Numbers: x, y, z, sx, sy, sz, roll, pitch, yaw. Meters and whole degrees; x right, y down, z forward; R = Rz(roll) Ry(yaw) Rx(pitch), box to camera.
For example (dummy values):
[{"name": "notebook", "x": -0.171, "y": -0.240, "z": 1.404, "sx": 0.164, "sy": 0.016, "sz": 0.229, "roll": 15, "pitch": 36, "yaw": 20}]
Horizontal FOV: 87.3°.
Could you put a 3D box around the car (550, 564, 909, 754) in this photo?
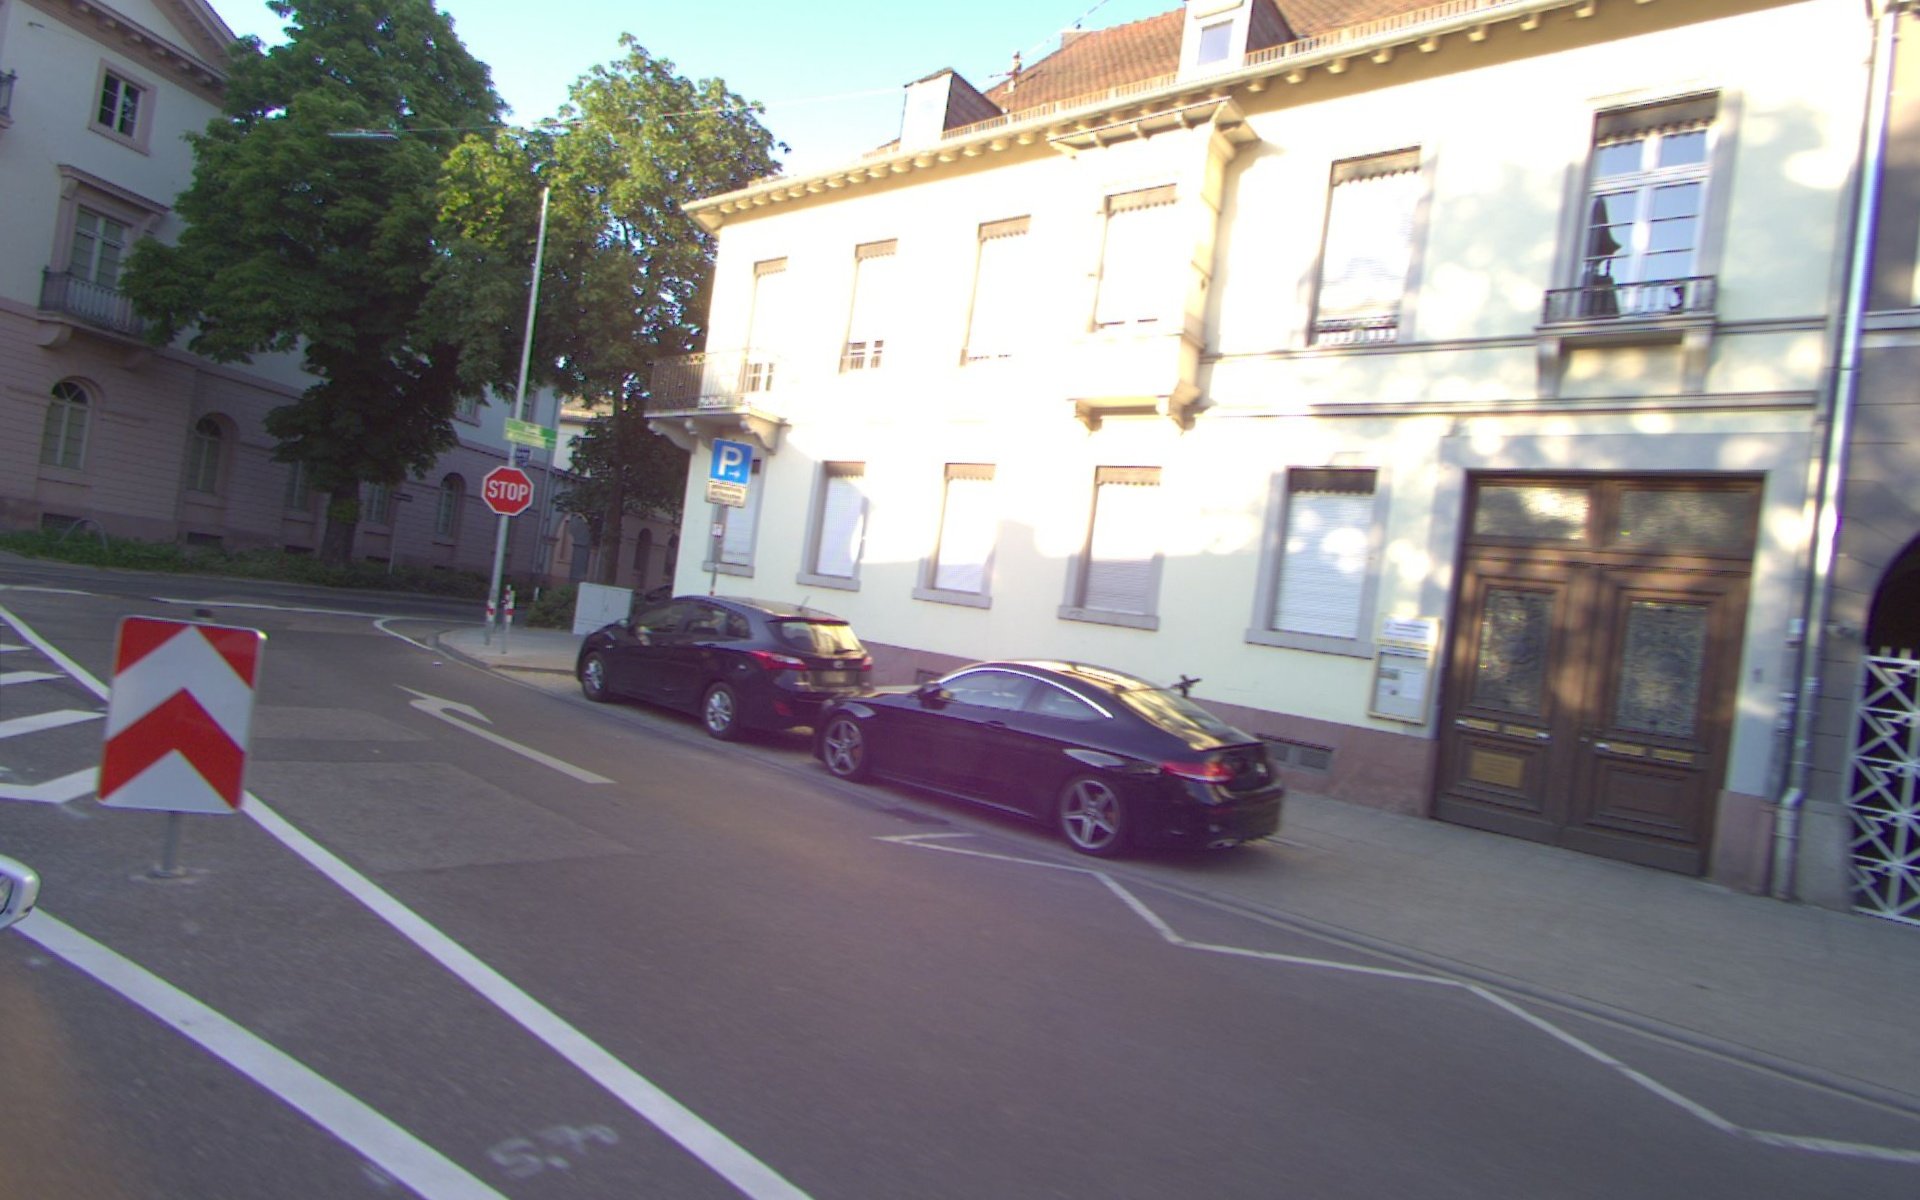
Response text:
[{"name": "car", "x": -2.906, "y": 0.642, "z": 12.100, "sx": 4.367, "sy": 1.559, "sz": 1.801, "roll": 8, "pitch": -2, "yaw": 40}]

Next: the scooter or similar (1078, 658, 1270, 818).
[{"name": "scooter or similar", "x": 2.070, "y": 1.313, "z": 9.960, "sx": 0.599, "sy": 1.249, "sz": 1.750, "roll": 5, "pitch": 2, "yaw": -40}]

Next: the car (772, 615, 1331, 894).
[{"name": "car", "x": 0.574, "y": 1.188, "z": 9.092, "sx": 4.789, "sy": 1.410, "sz": 1.772, "roll": 7, "pitch": -2, "yaw": 42}]

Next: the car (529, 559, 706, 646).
[{"name": "car", "x": -9.058, "y": 0.081, "z": 26.688, "sx": 3.924, "sy": 1.634, "sz": 1.830, "roll": 8, "pitch": -1, "yaw": 15}]
